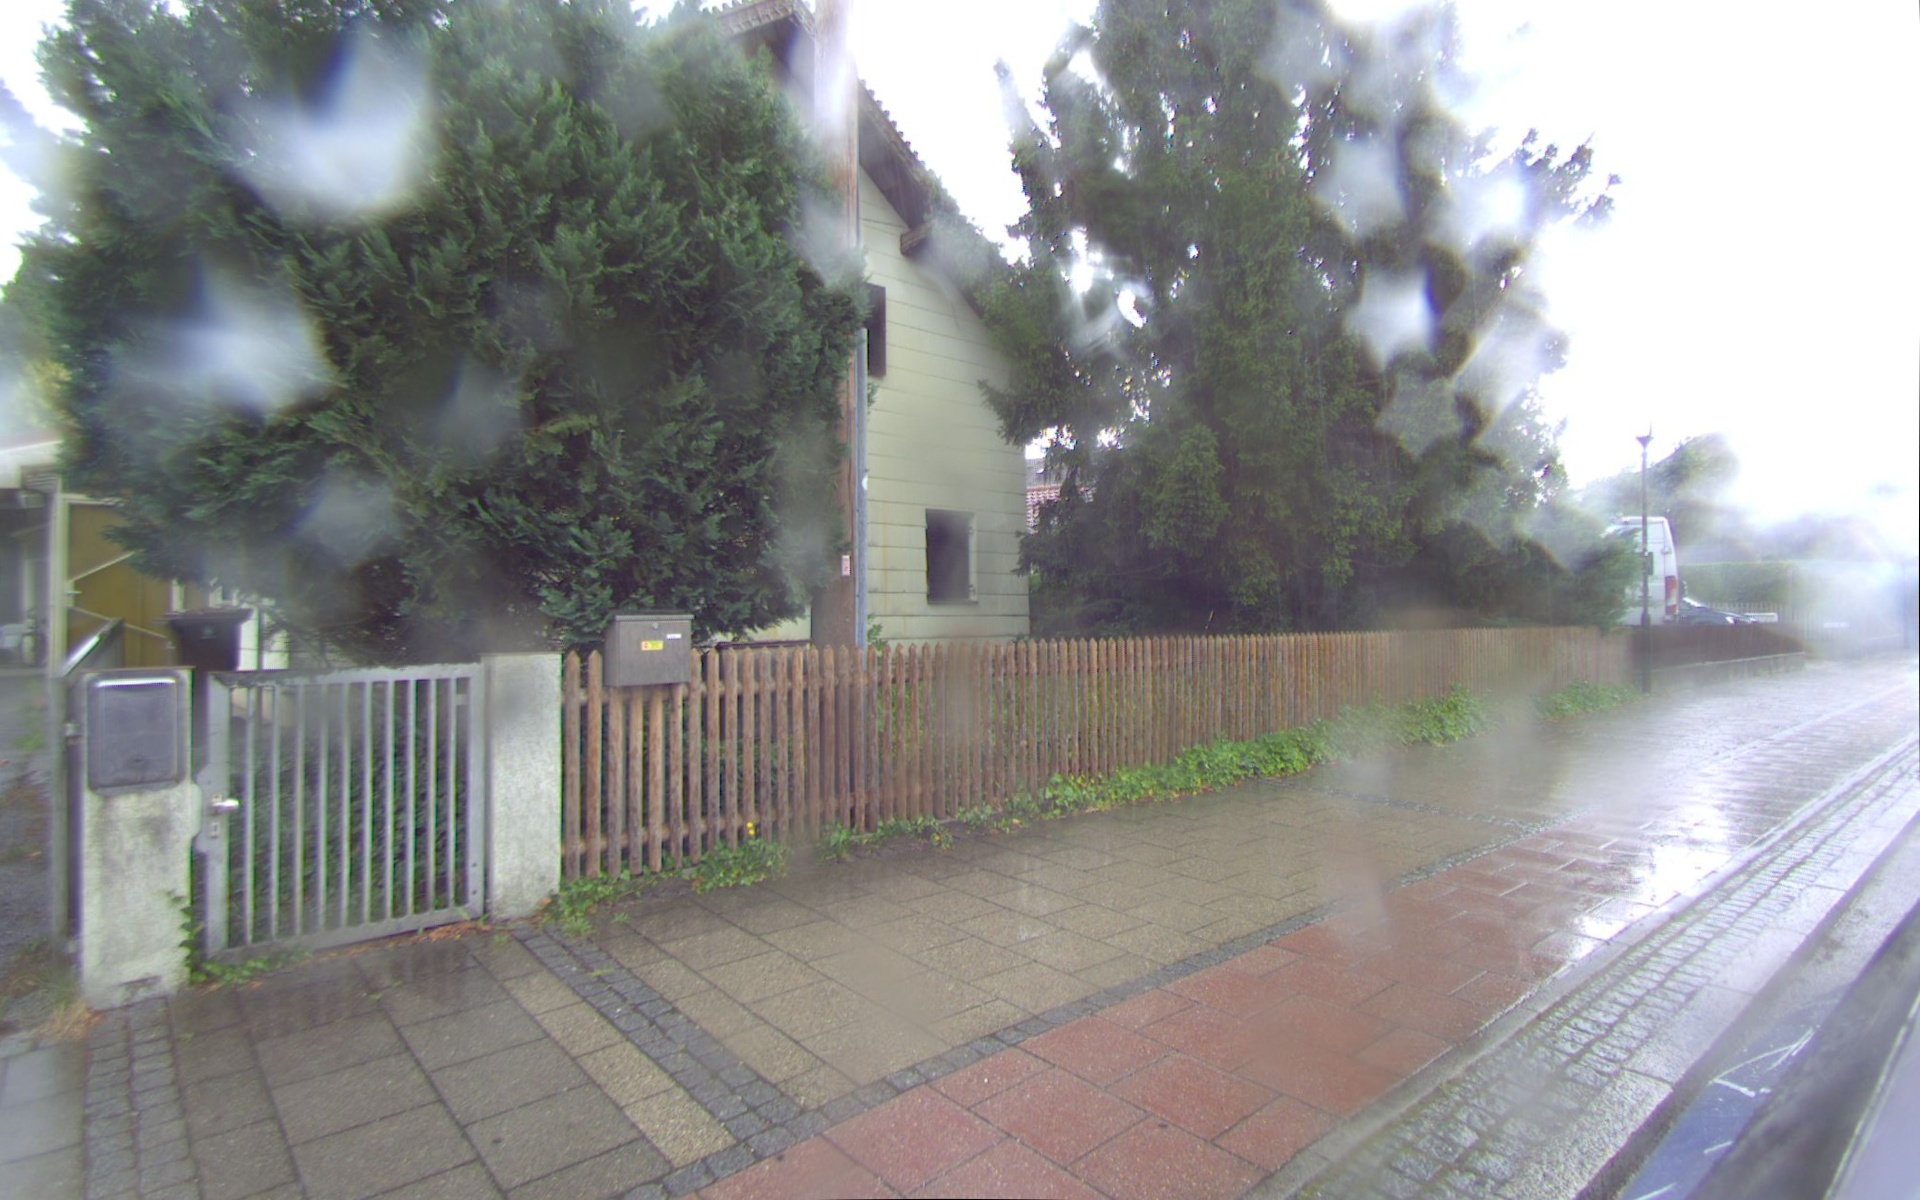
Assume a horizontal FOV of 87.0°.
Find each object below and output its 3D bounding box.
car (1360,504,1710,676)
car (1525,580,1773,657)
[{"bbox_3d":[10.463,-0.276,18.717,5.298,2.761,1.971,3,2,41],"label":"car"},{"bbox_3d":[15.502,0.333,22.923,4.428,1.438,1.803,3,3,42],"label":"car"}]
